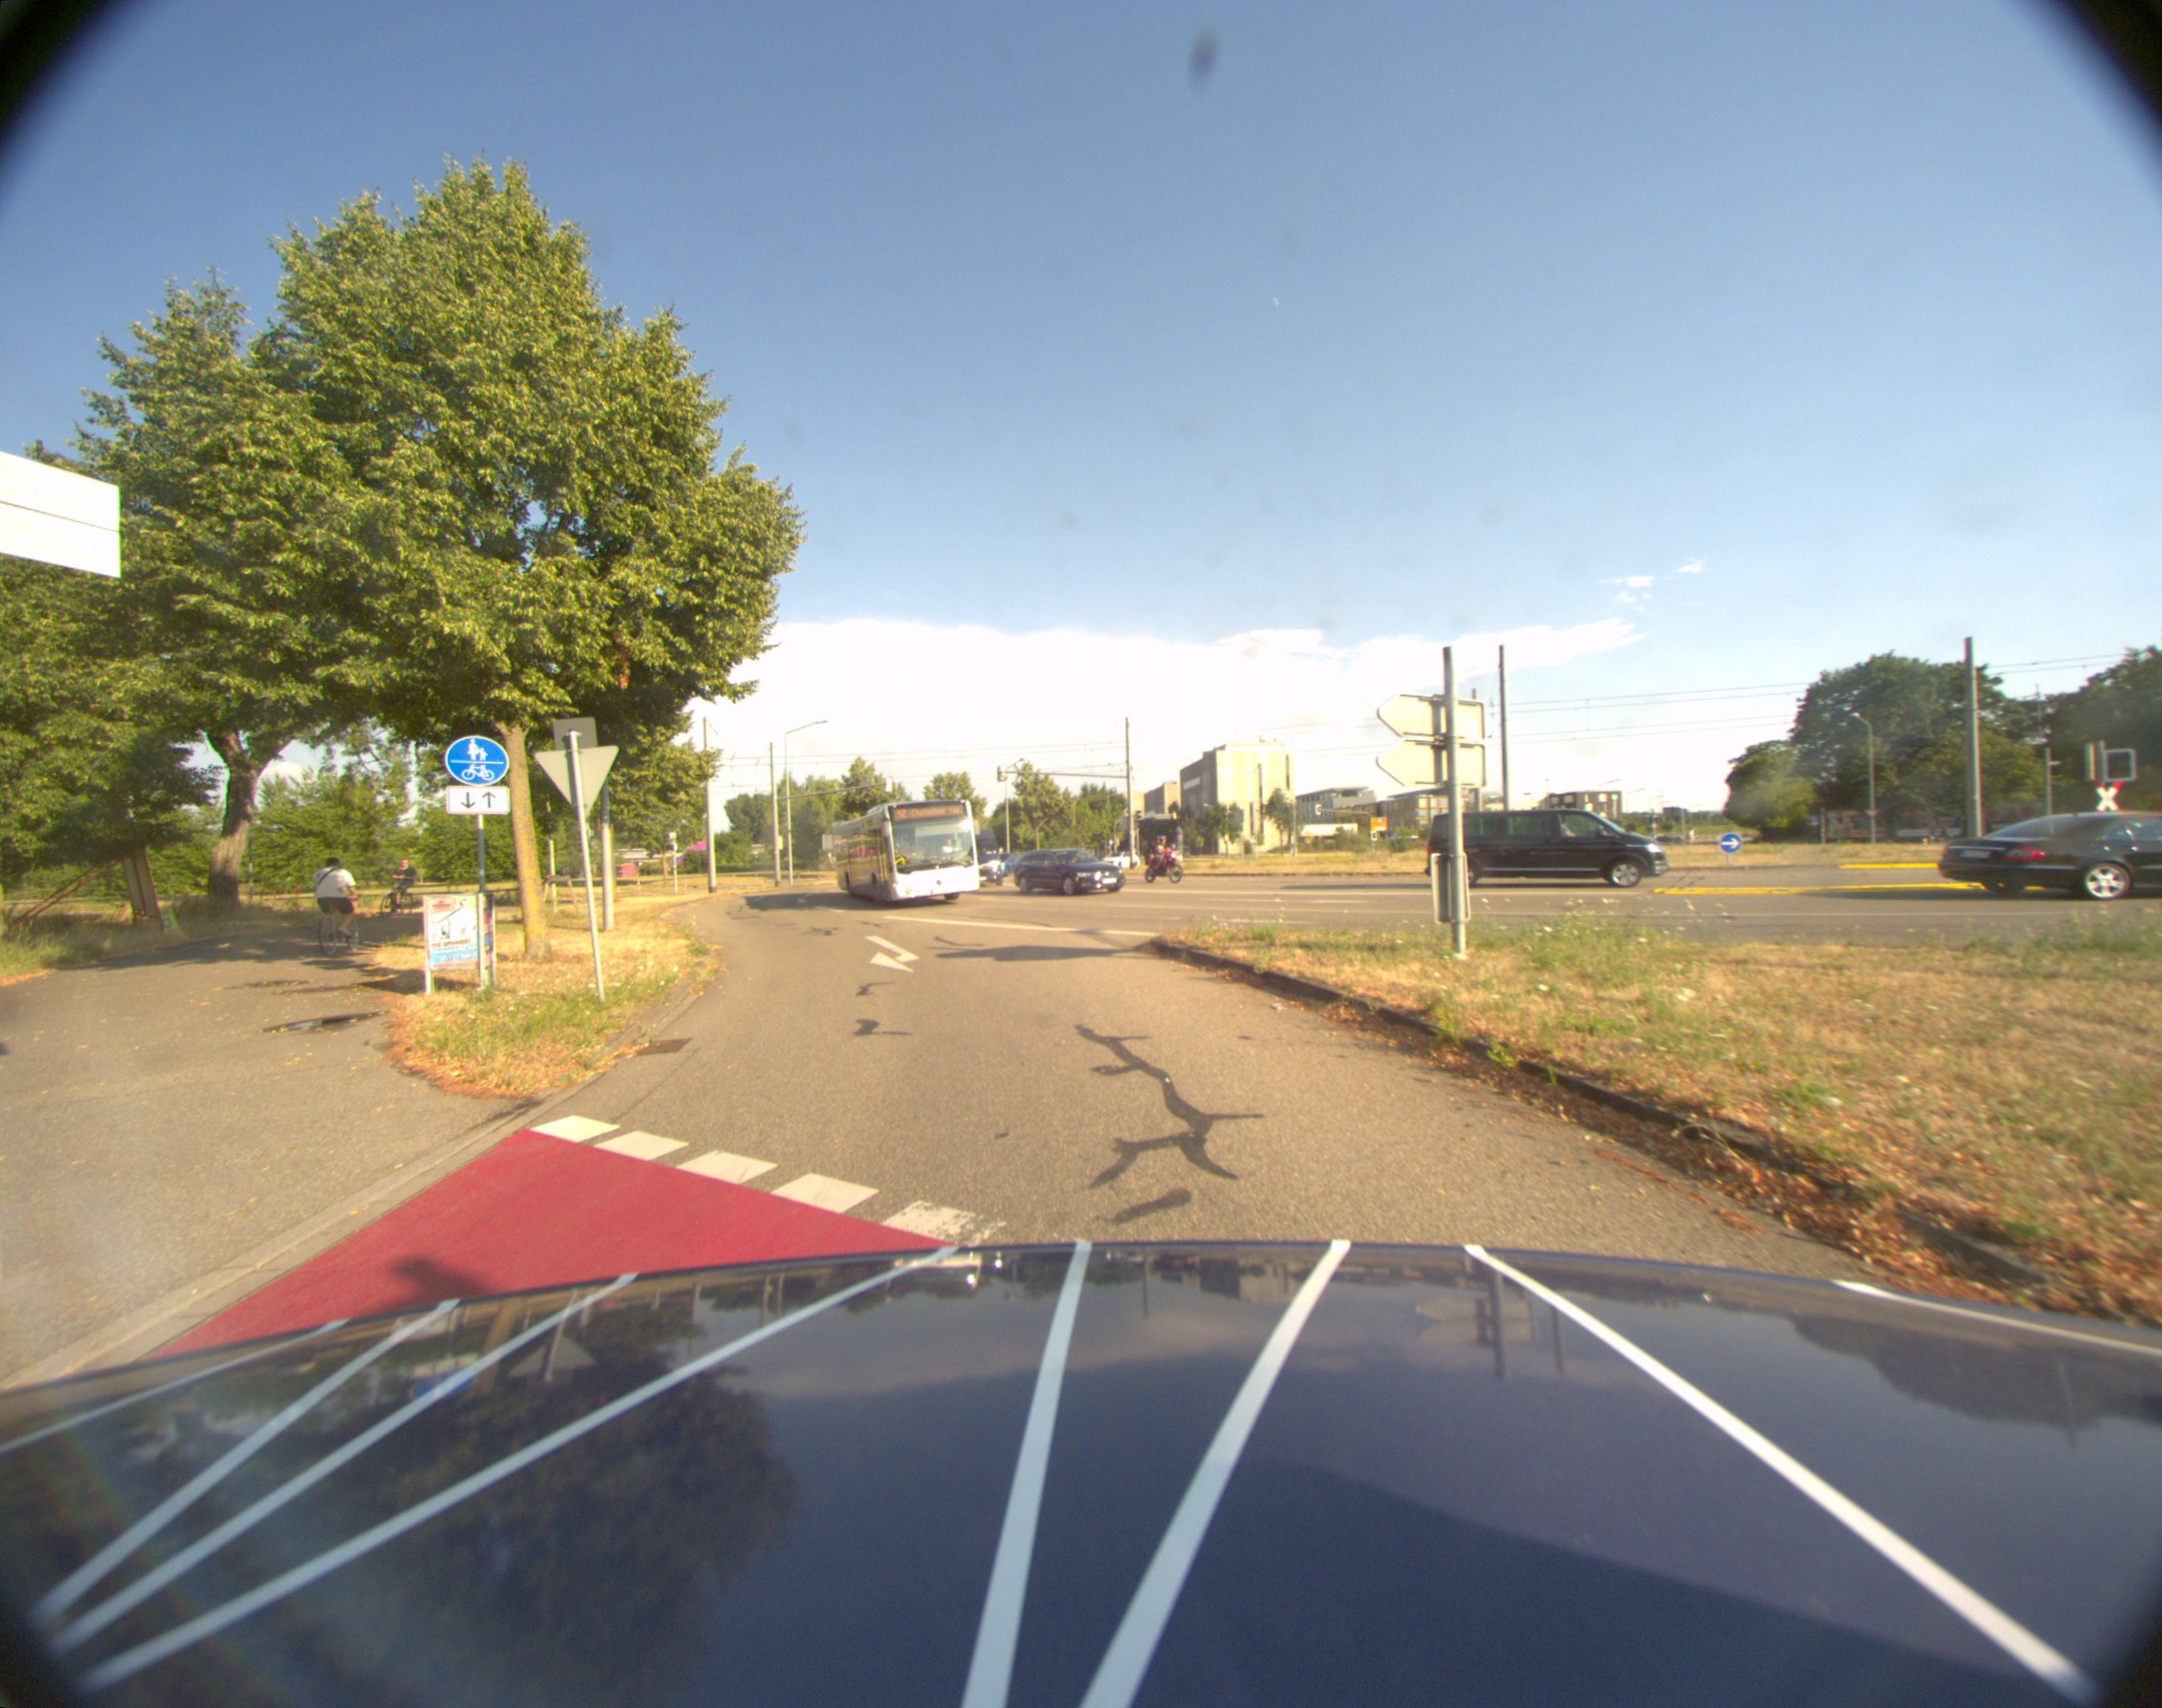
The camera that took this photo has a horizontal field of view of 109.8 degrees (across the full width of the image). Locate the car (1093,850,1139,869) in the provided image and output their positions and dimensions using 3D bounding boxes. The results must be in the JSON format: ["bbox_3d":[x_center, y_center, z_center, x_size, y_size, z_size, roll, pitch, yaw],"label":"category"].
[{"bbox_3d":[2.999,0.441,63.768,2.089,1.376,4.597,-2,1,27],"label":"car"}]

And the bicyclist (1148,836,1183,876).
[{"bbox_3d":[3.127,0.068,28.126,0.885,1.377,0.770,-6,3,-34],"label":"bicyclist"}]

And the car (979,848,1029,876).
[{"bbox_3d":[-4.863,0.469,48.503,1.867,1.652,4.004,-1,1,15],"label":"car"}]

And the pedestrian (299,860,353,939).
[{"bbox_3d":[-13.769,0.806,13.873,0.654,1.383,0.765,-1,1,-43],"label":"pedestrian"}]

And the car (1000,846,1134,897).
[{"bbox_3d":[-0.530,0.558,24.437,1.814,1.428,4.375,-3,1,-43],"label":"car"}]

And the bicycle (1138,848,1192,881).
[{"bbox_3d":[3.104,0.391,28.126,0.822,1.177,2.026,-2,1,-35],"label":"bicycle"}]

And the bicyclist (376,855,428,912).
[{"bbox_3d":[-21.877,0.933,24.504,0.727,1.790,0.938,-2,1,2],"label":"bicyclist"}]

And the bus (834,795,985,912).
[{"bbox_3d":[-6.374,-0.015,26.010,2.669,3.044,12.155,-2,1,-24],"label":"bus"}]

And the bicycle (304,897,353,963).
[{"bbox_3d":[-13.713,1.351,13.881,0.535,1.049,1.908,-3,1,-43],"label":"bicycle"}]

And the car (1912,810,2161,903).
[{"bbox_3d":[17.686,-0.012,12.851,4.693,1.398,1.845,-2,1,12],"label":"car"}]

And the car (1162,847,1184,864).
[{"bbox_3d":[9.310,0.166,76.623,1.997,1.630,4.002,-2,0,8],"label":"car"}]

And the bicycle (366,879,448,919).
[{"bbox_3d":[-21.832,1.435,24.677,0.640,1.116,2.125,-2,1,3],"label":"bicycle"}]

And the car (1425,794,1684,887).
[{"bbox_3d":[11.681,-0.267,19.151,5.230,2.035,2.098,-2,1,31],"label":"car"}]

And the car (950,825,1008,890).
[{"bbox_3d":[-4.640,0.220,33.805,2.000,2.578,5.481,-3,-1,-12],"label":"car"}]
